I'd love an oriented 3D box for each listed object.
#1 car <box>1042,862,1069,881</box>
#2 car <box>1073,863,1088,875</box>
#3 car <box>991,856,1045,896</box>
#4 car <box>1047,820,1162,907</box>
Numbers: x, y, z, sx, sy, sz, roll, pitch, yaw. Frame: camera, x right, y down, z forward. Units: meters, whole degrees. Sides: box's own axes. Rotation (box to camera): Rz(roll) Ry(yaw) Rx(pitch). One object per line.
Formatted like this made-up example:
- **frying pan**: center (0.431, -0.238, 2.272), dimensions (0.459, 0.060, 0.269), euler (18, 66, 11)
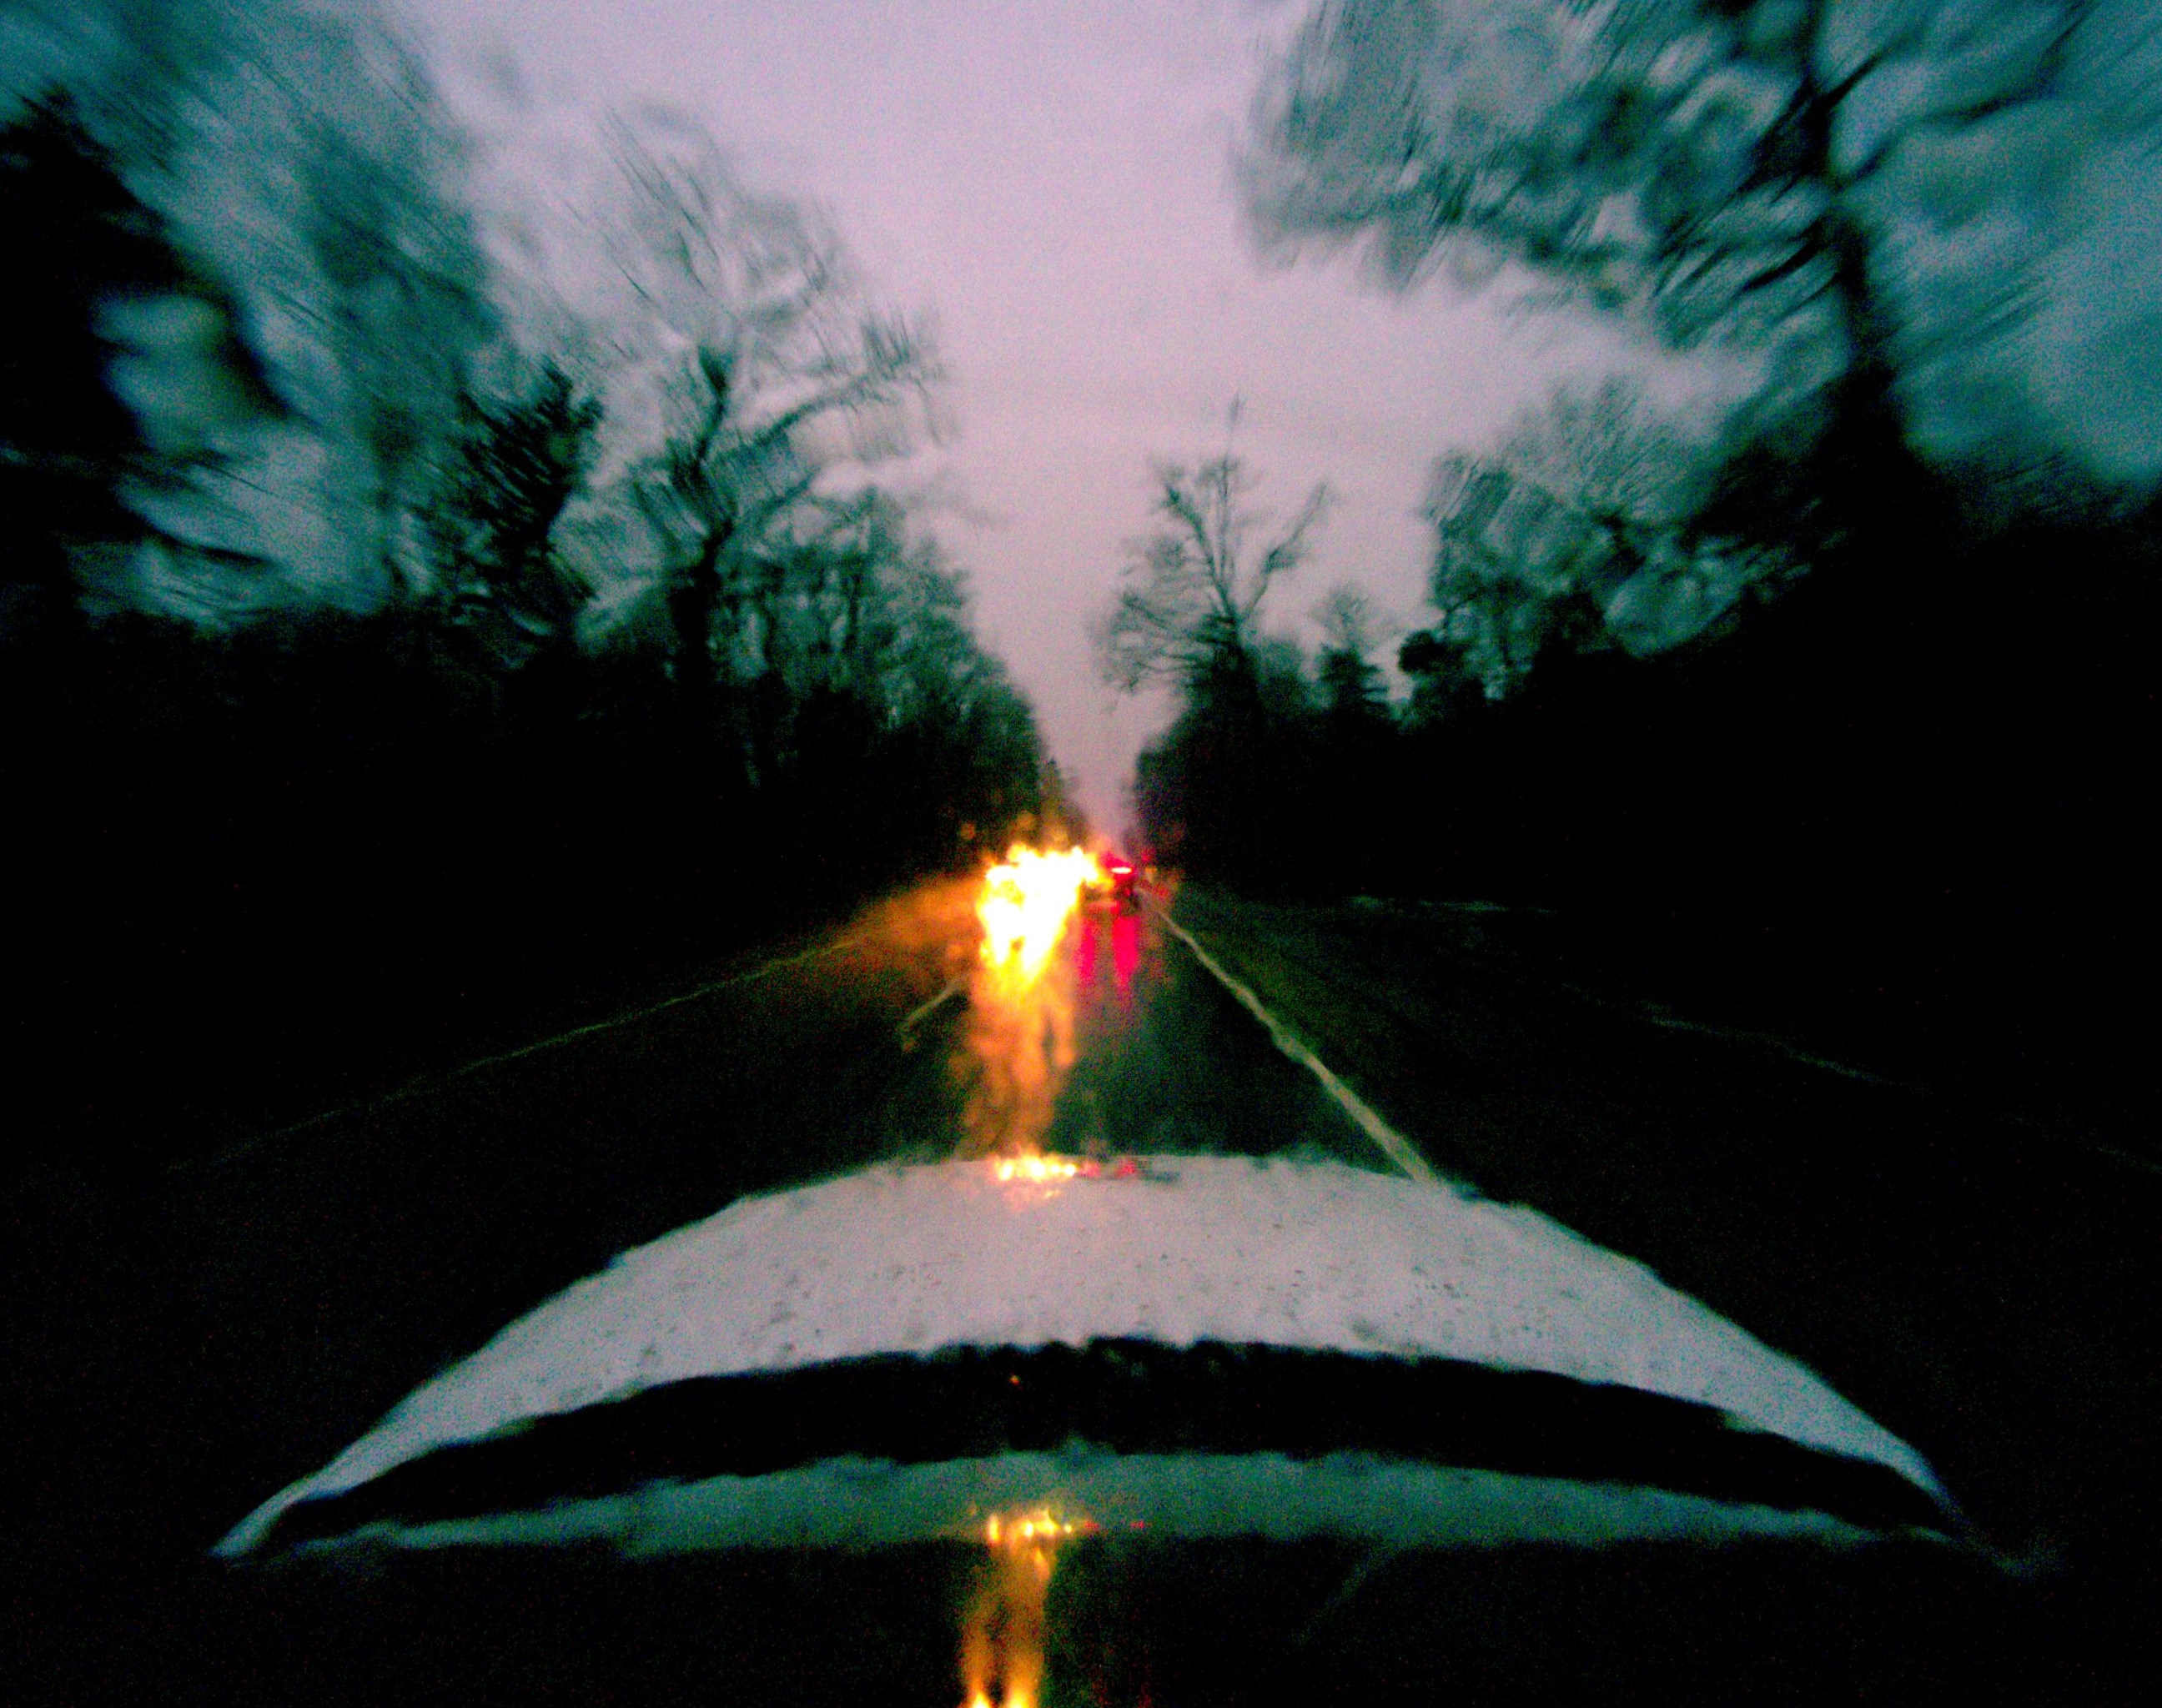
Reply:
- **car**: center (-2.016, 1.354, 65.554), dimensions (1.861, 1.422, 4.388), euler (-2, 0, 2)
- **car**: center (-0.023, 2.144, 115.347), dimensions (2.068, 1.616, 4.152), euler (-2, -1, 1)
- **car**: center (-2.817, 0.952, 37.392), dimensions (1.911, 1.608, 5.017), euler (-2, 0, 1)
- **car**: center (0.811, 0.292, 26.015), dimensions (3.171, 2.387, 6.640), euler (-1, -1, 3)
